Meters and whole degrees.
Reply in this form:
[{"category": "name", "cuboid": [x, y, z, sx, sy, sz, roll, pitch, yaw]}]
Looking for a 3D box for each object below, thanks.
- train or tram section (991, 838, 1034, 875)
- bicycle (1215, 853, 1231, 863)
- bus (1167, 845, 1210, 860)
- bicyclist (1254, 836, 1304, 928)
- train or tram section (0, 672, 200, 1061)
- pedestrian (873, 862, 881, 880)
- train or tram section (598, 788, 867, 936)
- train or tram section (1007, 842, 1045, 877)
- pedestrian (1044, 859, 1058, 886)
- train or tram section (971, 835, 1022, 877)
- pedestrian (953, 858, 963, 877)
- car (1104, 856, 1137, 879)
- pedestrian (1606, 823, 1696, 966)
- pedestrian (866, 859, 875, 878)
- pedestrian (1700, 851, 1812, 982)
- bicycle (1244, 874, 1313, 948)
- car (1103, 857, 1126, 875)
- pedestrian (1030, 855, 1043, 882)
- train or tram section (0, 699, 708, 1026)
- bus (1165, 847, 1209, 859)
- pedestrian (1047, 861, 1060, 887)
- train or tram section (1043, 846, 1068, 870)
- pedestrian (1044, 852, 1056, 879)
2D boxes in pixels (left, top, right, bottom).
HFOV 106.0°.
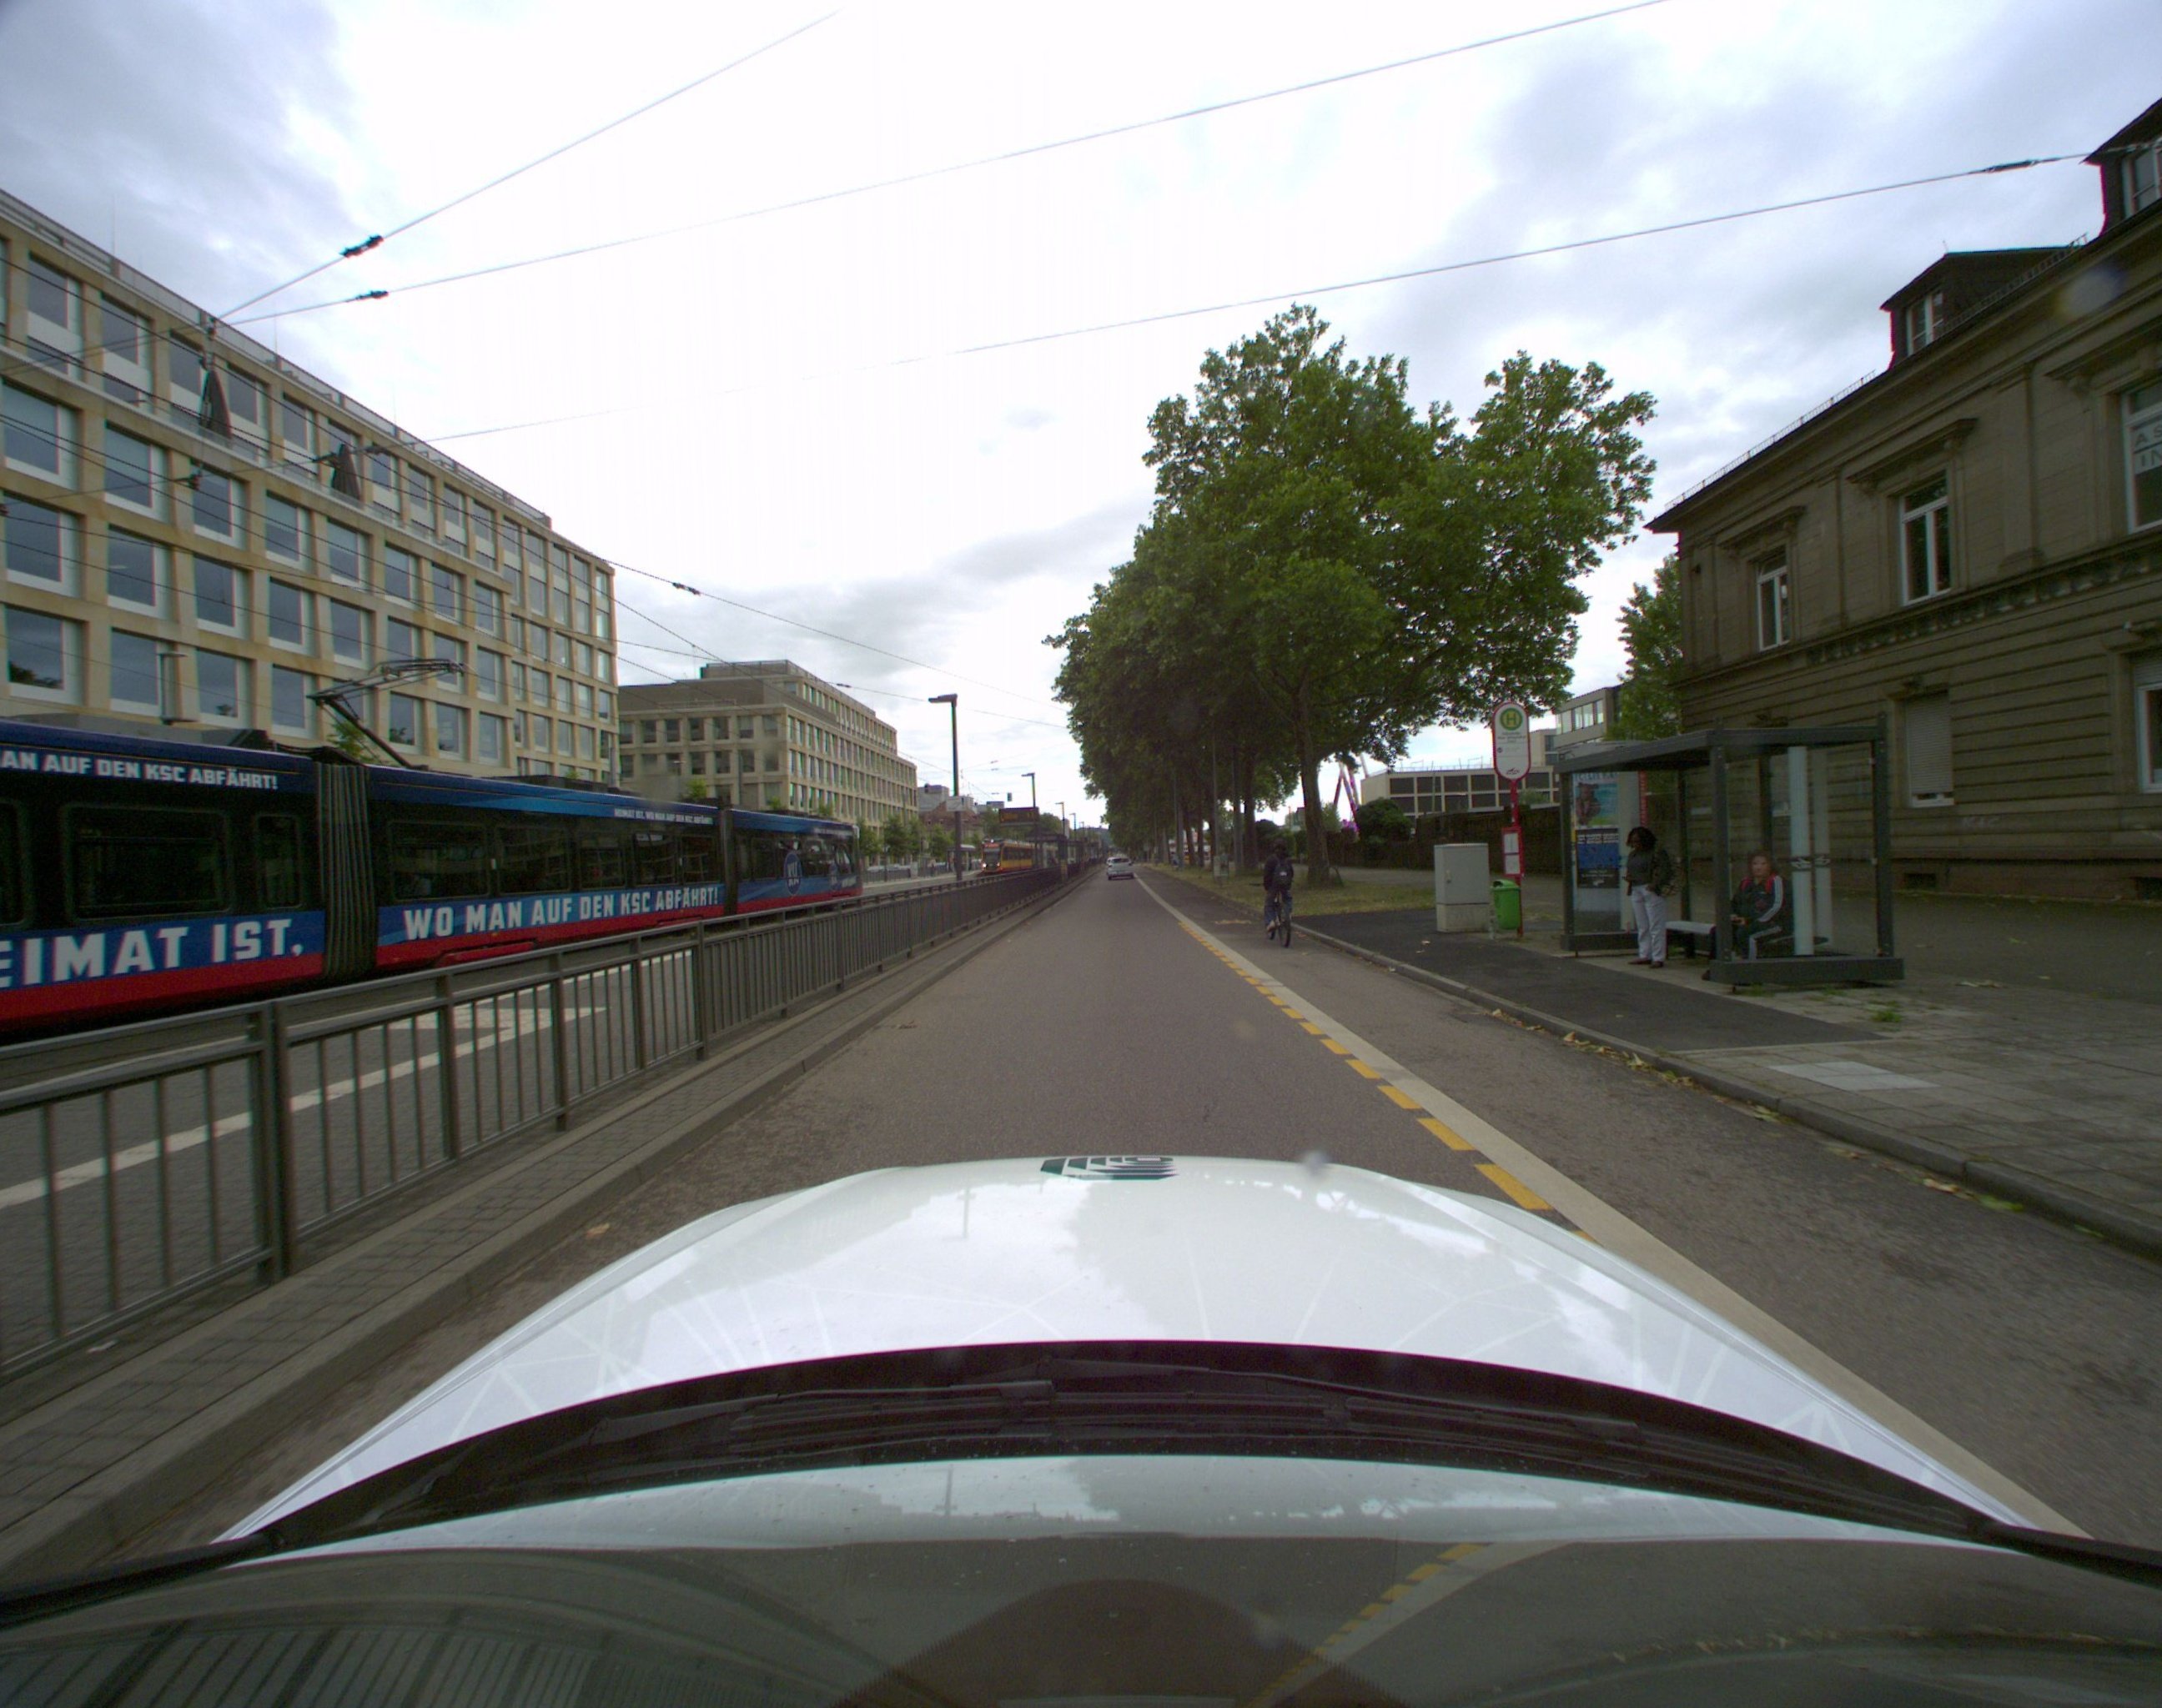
[{"category": "train or tram section", "cuboid": [-7.751, 0.379, 93.711, 3.150, 3.862, 11.319, -3, -1, 3]}, {"category": "bicycle", "cuboid": [18.093, 0.552, 104.004, 1.883, 1.105, 0.550, -4, -1, 0]}, {"category": "bus", "cuboid": [23.965, -0.340, 181.338, 9.247, 2.960, 2.000, -3, -1, 0]}, {"category": "bicyclist", "cuboid": [3.424, 0.480, 14.104, 0.638, 1.531, 0.664, -2, -1, 0]}, {"category": "train or tram section", "cuboid": [-11.660, 0.099, 3.393, 2.844, 3.640, 11.769, -2, -1, 2]}, {"category": "pedestrian", "cuboid": [-23.065, 1.937, 92.102, 0.710, 2.014, 0.725, -2, -1, 2]}, {"category": "train or tram section", "cuboid": [-10.789, 0.307, 27.798, 2.844, 3.692, 13.525, -2, -1, 2]}, {"category": "train or tram section", "cuboid": [-7.059, 0.750, 106.295, 3.167, 4.179, 13.630, -3, -1, 3]}, {"category": "pedestrian", "cuboid": [-1.581, 0.968, 42.698, 0.608, 1.341, 0.600, -3, -1, 3]}, {"category": "train or tram section", "cuboid": [-8.379, 0.300, 82.408, 3.224, 3.862, 11.319, -3, -1, 3]}, {"category": "pedestrian", "cuboid": [-11.613, 1.288, 77.059, 0.709, 1.795, 1.161, -2, -1, 1]}, {"category": "car", "cuboid": [2.742, 0.898, 55.710, 1.875, 1.453, 4.008, -3, -1, 7]}, {"category": "pedestrian", "cuboid": [6.531, 0.454, 9.360, 0.474, 1.563, 0.703, -2, -1, 2]}, {"category": "pedestrian", "cuboid": [-23.585, 1.636, 91.082, 0.710, 2.014, 0.725, -2, -1, 3]}, {"category": "pedestrian", "cuboid": [6.694, 0.600, 8.108, 0.474, 1.234, 0.703, -2, -1, 2]}, {"category": "bicycle", "cuboid": [3.437, 0.952, 14.355, 0.650, 1.150, 2.283, -2, -1, 1]}, {"category": "car", "cuboid": [3.047, 1.064, 73.106, 1.832, 1.552, 4.004, -3, -1, 4]}, {"category": "pedestrian", "cuboid": [-3.008, 0.985, 54.848, 0.670, 1.793, 1.109, -2, -1, -10]}, {"category": "train or tram section", "cuboid": [-11.286, 0.192, 15.164, 2.844, 3.640, 11.704, -2, -1, 2]}, {"category": "bus", "cuboid": [23.170, -0.231, 178.222, 9.247, 2.227, 2.000, -3, -1, 0]}, {"category": "pedestrian", "cuboid": [-1.465, 1.083, 43.979, 0.608, 1.372, 0.600, -2, -1, 3]}, {"category": "train or tram section", "cuboid": [-4.492, 0.827, 149.776, 3.167, 4.179, 14.745, -3, -1, 3]}, {"category": "pedestrian", "cuboid": [-2.119, 0.805, 55.534, 0.669, 1.793, 1.111, -2, -1, -6]}]
